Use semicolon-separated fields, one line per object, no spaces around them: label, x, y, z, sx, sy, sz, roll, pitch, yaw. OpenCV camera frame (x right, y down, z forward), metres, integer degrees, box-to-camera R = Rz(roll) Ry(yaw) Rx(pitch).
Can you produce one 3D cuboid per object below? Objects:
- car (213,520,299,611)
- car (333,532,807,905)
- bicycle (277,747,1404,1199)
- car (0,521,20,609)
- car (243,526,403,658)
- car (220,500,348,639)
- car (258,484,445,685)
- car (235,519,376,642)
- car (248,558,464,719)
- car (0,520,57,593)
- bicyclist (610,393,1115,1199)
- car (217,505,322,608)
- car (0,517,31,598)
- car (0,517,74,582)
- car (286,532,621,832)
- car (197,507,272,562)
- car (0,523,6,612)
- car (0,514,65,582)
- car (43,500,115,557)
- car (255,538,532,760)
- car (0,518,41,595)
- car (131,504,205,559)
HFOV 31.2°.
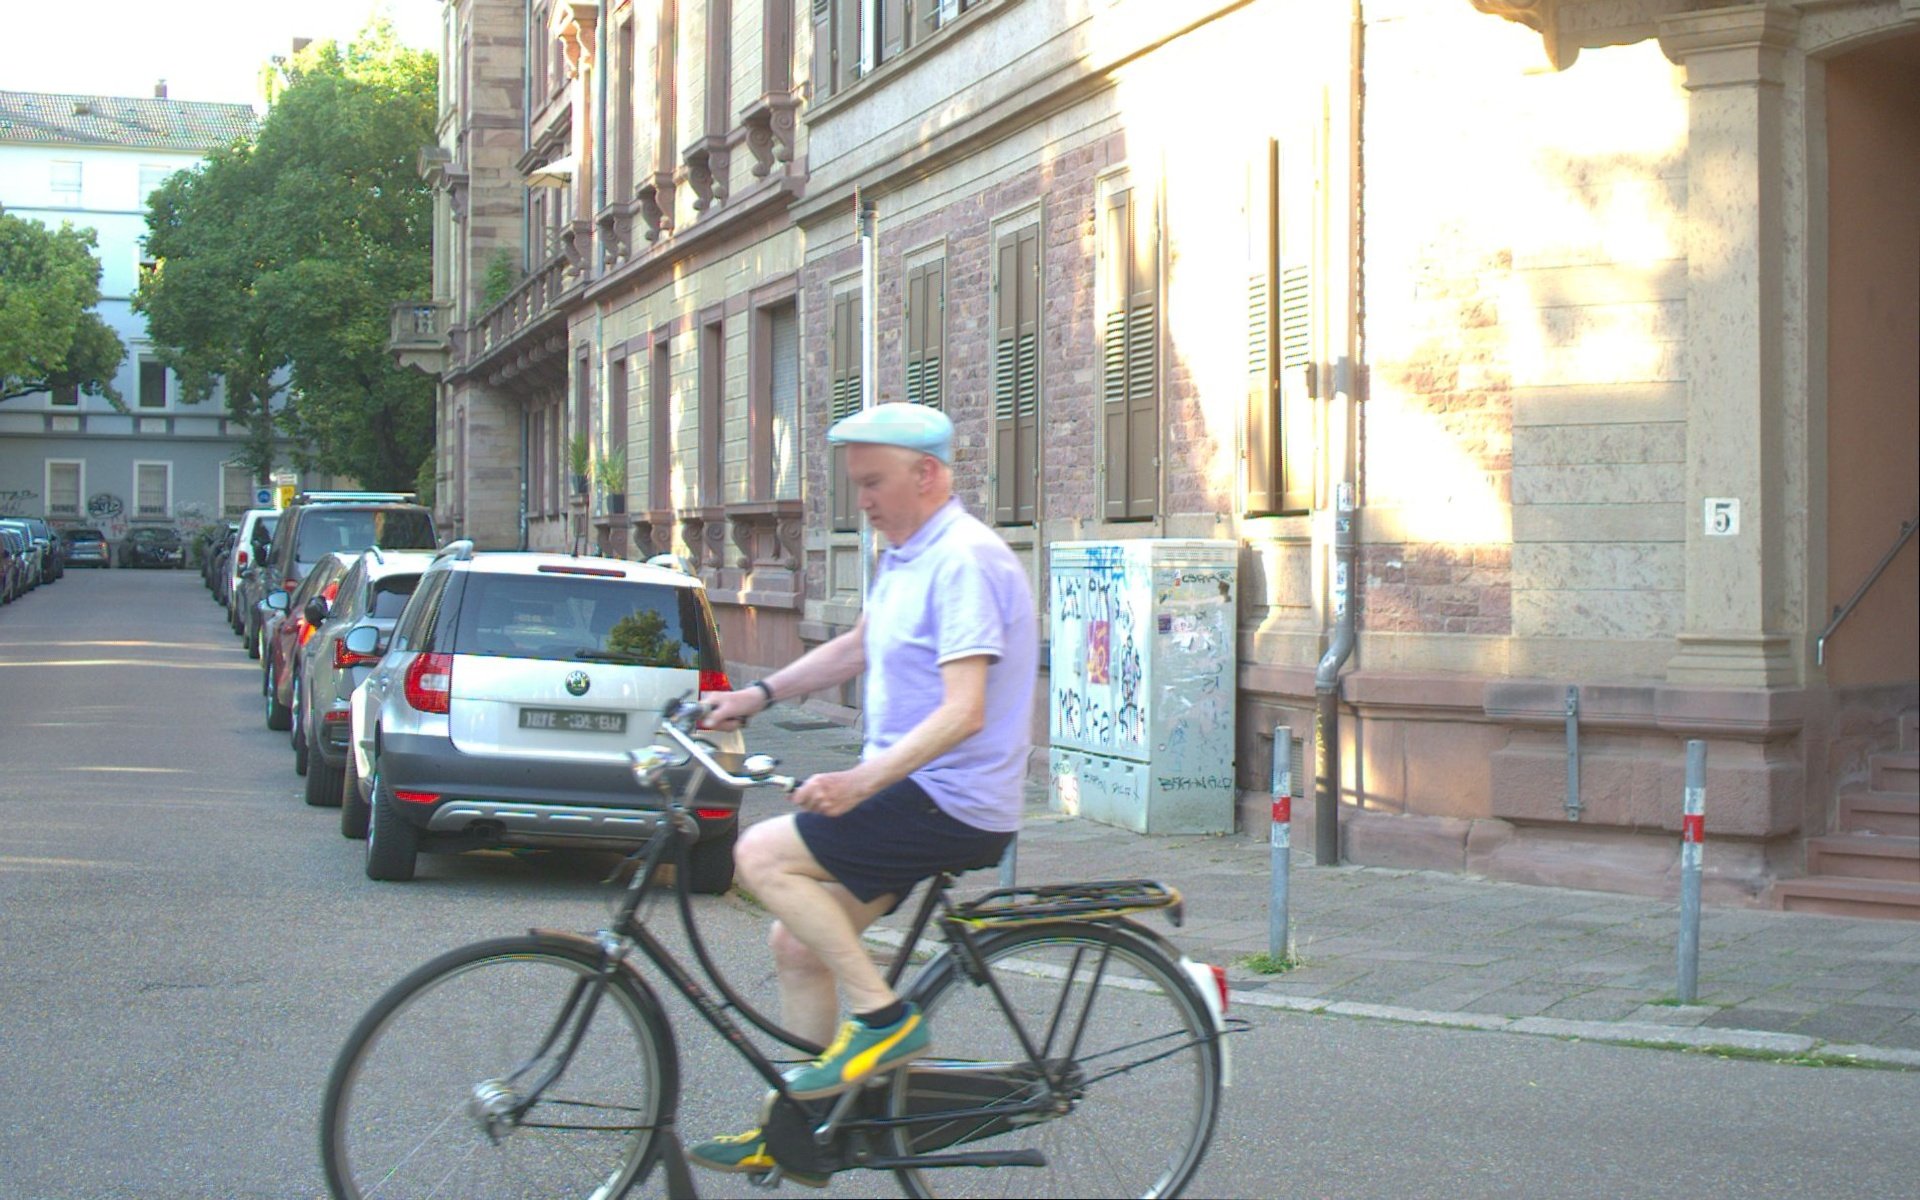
car;-16.604;-0.834;80.944;1.797;2.010;3.956;3;0;-13
car;-2.182;0.542;18.149;1.915;1.651;4.188;4;0;-13
bicycle;-0.258;0.835;6.745;2.116;1.050;0.701;0;1;-11
car;-17.613;-0.690;60.430;1.825;1.495;3.932;4;0;-12
car;-8.228;-0.134;44.187;1.797;1.518;3.956;3;0;-13
car;-10.928;-0.510;55.407;1.797;2.065;3.956;3;0;-13
car;-6.928;-0.200;38.891;1.797;2.065;3.956;3;0;-13
car;-9.529;-0.313;49.865;1.797;1.617;3.956;3;0;-13
car;-5.887;0.332;33.184;1.797;1.341;3.956;3;0;-13
car;-20.877;-0.982;75.369;1.825;1.495;3.932;4;0;-12
bicyclist;-0.211;0.409;6.752;0.871;1.583;0.701;0;1;-11
car;-13.381;-0.855;66.481;1.797;1.832;3.956;3;0;-13
car;-19.021;-0.877;66.330;1.825;1.495;3.932;4;0;-12
car;-23.301;-1.275;86.320;1.825;1.495;3.932;4;0;-12
car;-3.496;0.460;23.060;1.825;1.718;4.545;4;0;-12
car;-24.481;-2.204;115.962;1.993;1.678;4.001;2;-1;-18
car;-16.621;-0.567;55.910;1.825;1.495;3.932;4;0;-12
car;-22.235;-1.246;81.329;1.825;1.495;3.932;4;0;-12
car;-29.205;-2.348;113.872;1.993;1.678;4.001;2;-1;-18
car;-4.761;0.354;28.485;1.797;1.608;3.956;3;0;-15
car;-19.900;-0.947;70.389;1.825;1.495;3.932;4;0;-12
car;-26.482;-2.269;114.861;1.993;1.678;4.001;2;-1;-18
